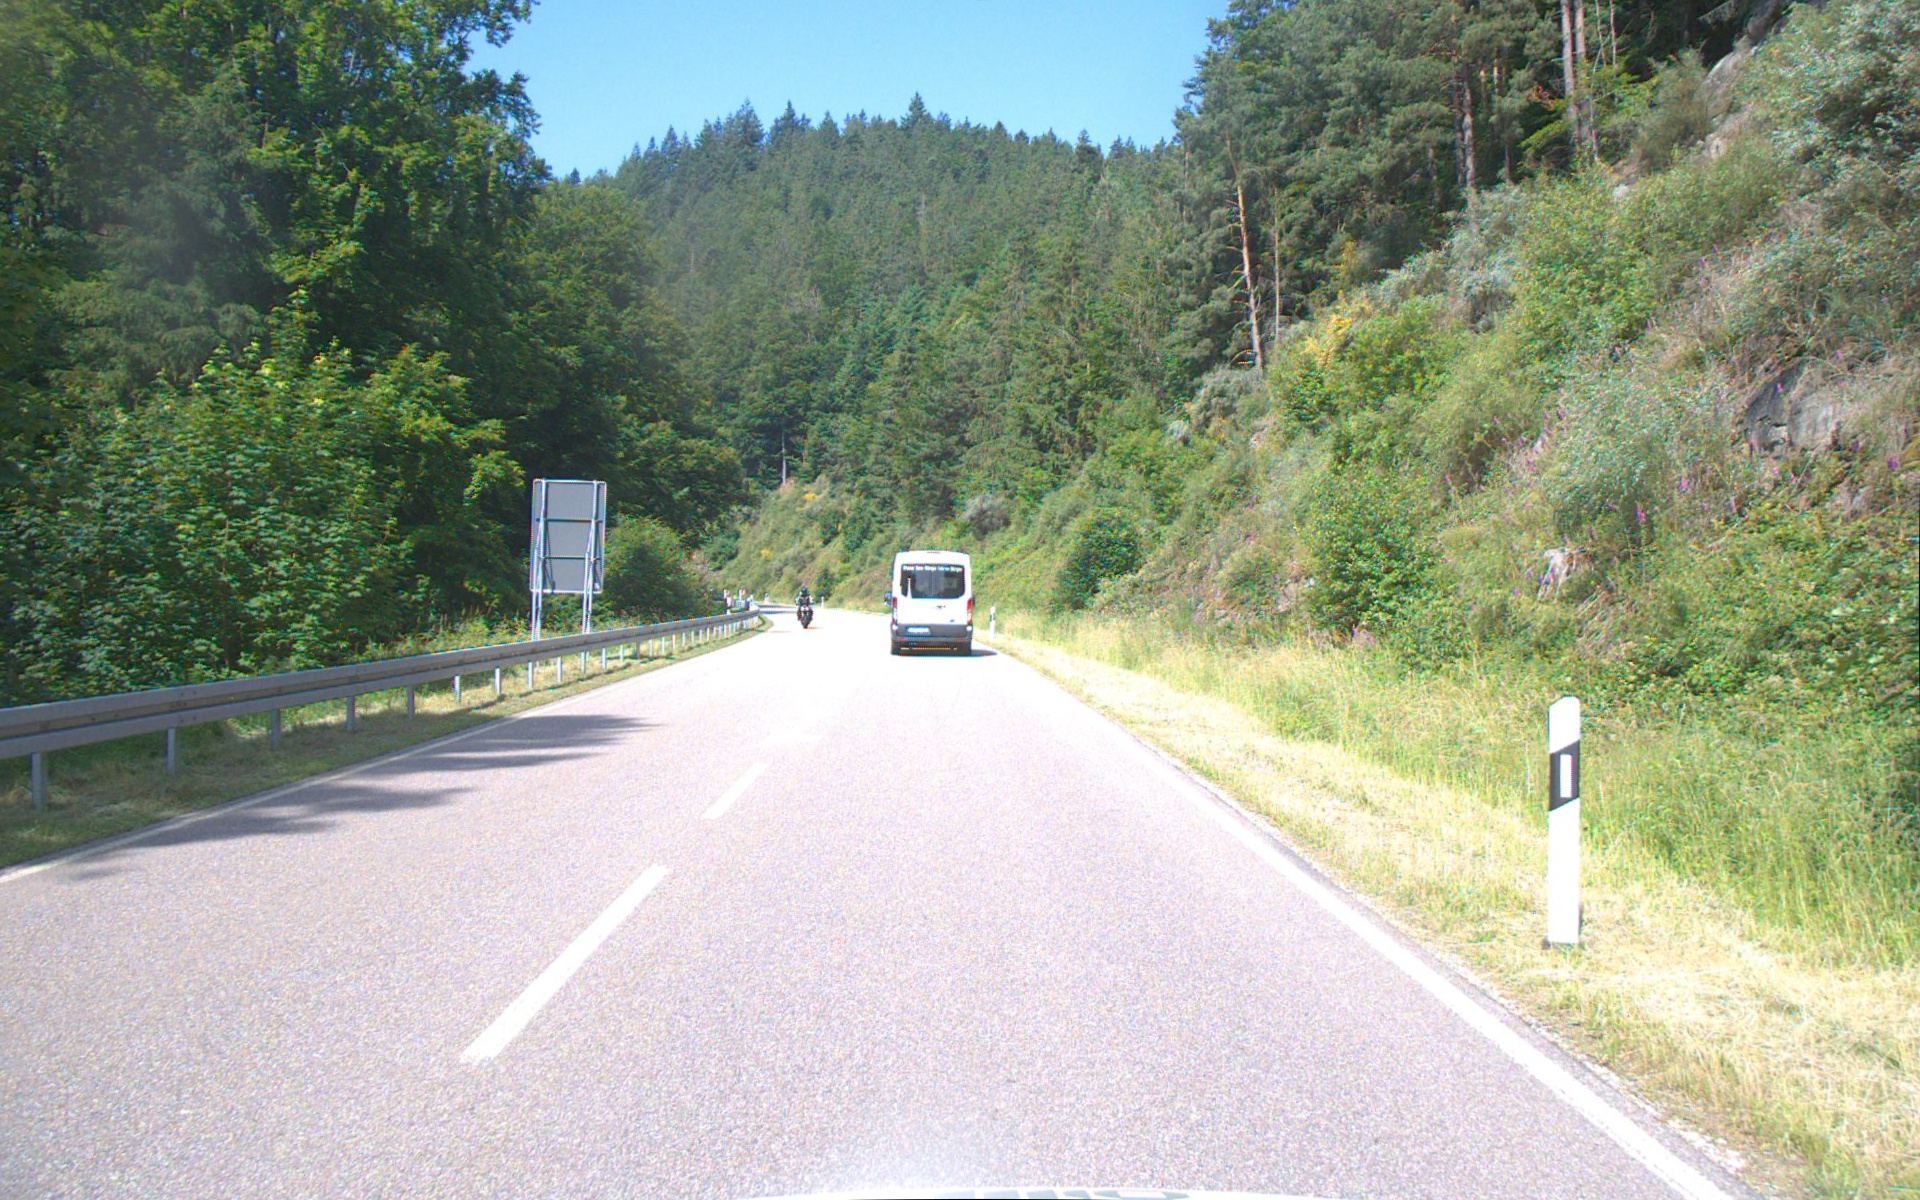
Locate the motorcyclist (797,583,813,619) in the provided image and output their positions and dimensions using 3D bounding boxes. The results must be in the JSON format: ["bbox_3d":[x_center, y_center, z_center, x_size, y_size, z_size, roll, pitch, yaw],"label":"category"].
[{"bbox_3d":[-6.603,0.040,70.504,0.645,1.539,0.933,0,0,-3],"label":"motorcyclist"}]

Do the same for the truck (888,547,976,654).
[{"bbox_3d":[-0.771,-0.008,41.457,2.042,2.502,4.872,1,0,-3],"label":"truck"}]

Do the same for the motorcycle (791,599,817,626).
[{"bbox_3d":[-6.641,0.525,70.471,0.965,1.090,1.962,0,0,-2],"label":"motorcycle"}]
